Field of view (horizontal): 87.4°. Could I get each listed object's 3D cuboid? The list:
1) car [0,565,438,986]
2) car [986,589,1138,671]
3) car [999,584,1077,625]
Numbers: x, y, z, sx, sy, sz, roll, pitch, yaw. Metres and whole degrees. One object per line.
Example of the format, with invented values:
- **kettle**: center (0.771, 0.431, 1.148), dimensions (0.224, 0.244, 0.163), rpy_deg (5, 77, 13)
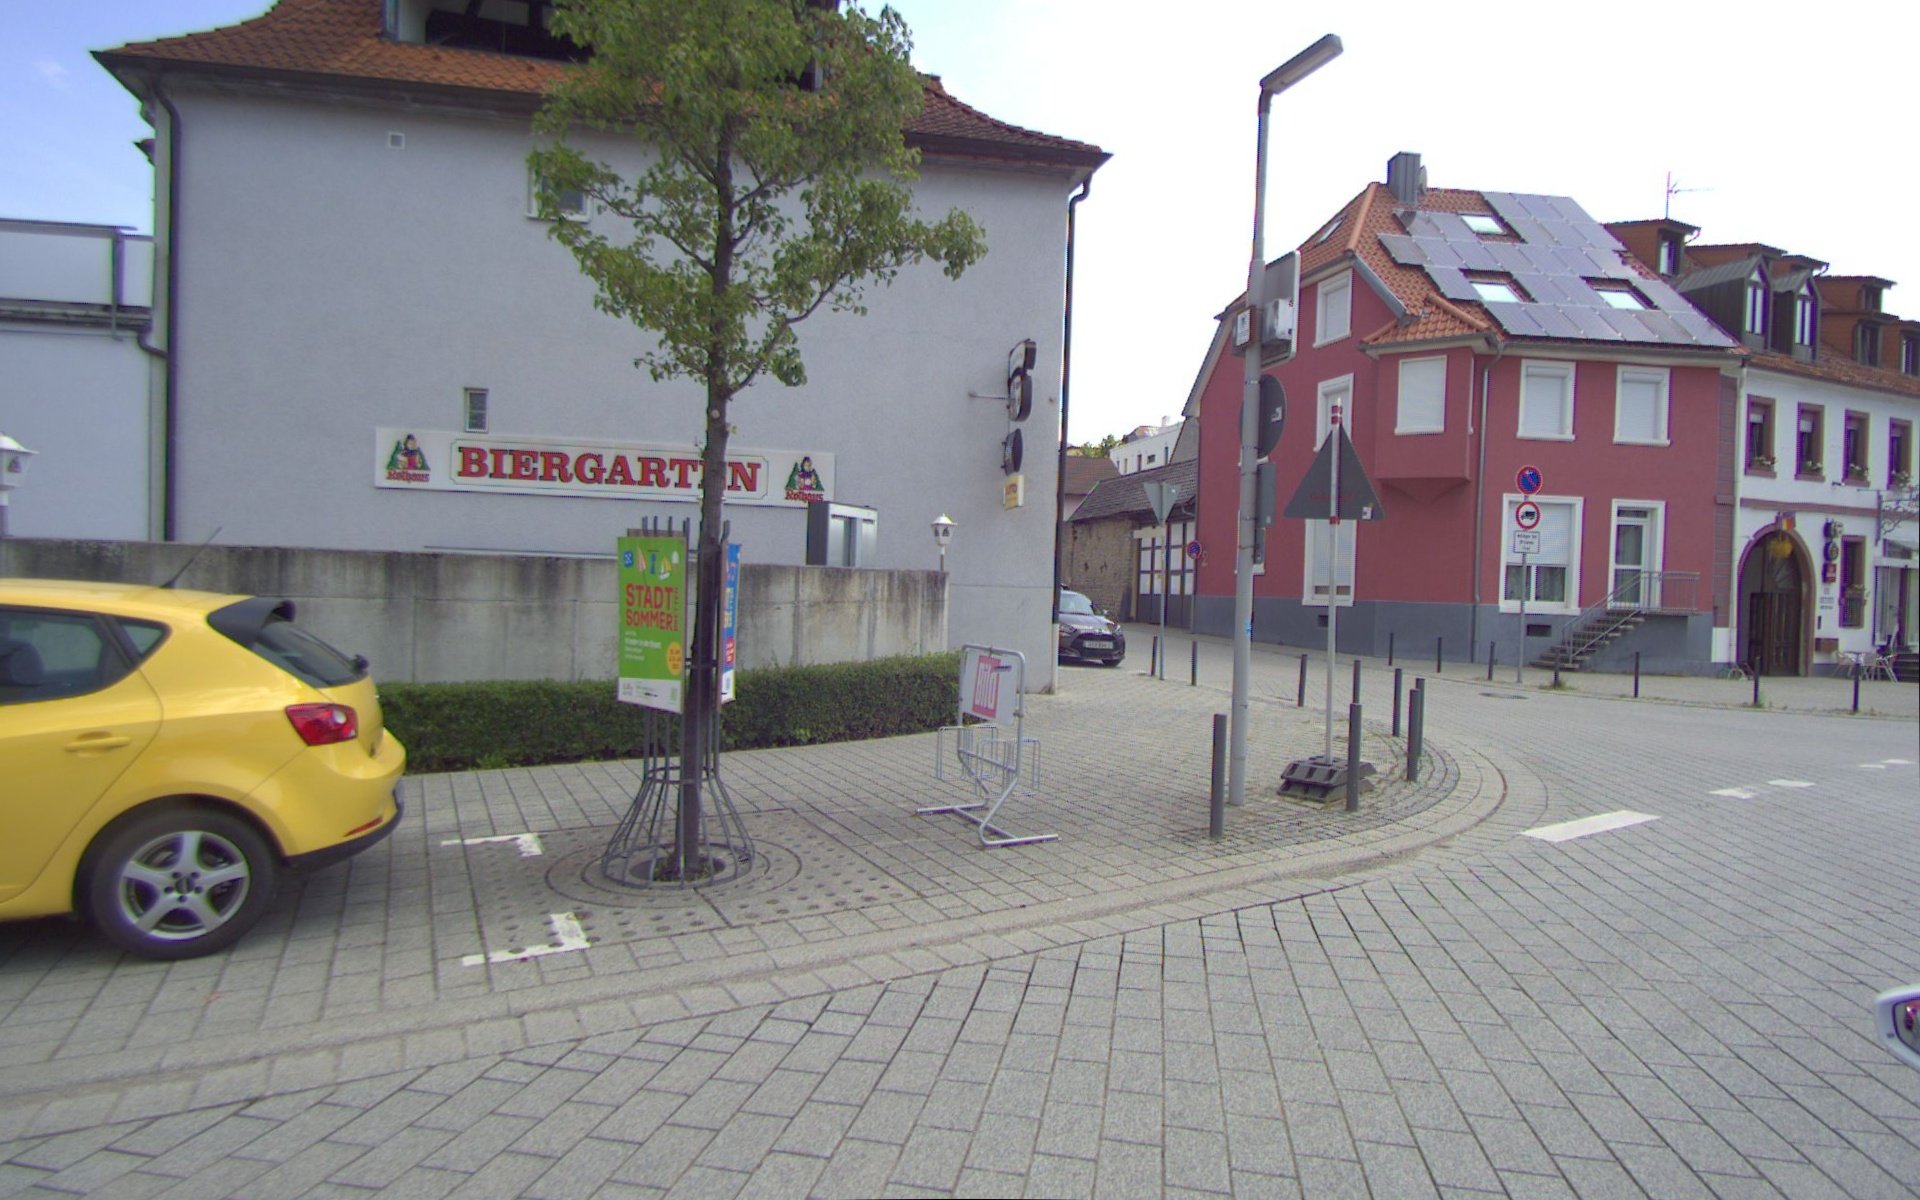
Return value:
- **car**: center (-4.319, 0.601, 4.013), dimensions (3.912, 1.494, 1.662), rpy_deg (1, 0, -28)
- **car**: center (2.055, 0.575, 21.478), dimensions (1.746, 1.538, 3.937), rpy_deg (2, 1, -19)
- **car**: center (3.096, 0.146, 40.544), dimensions (1.955, 1.538, 3.451), rpy_deg (2, 1, -19)
